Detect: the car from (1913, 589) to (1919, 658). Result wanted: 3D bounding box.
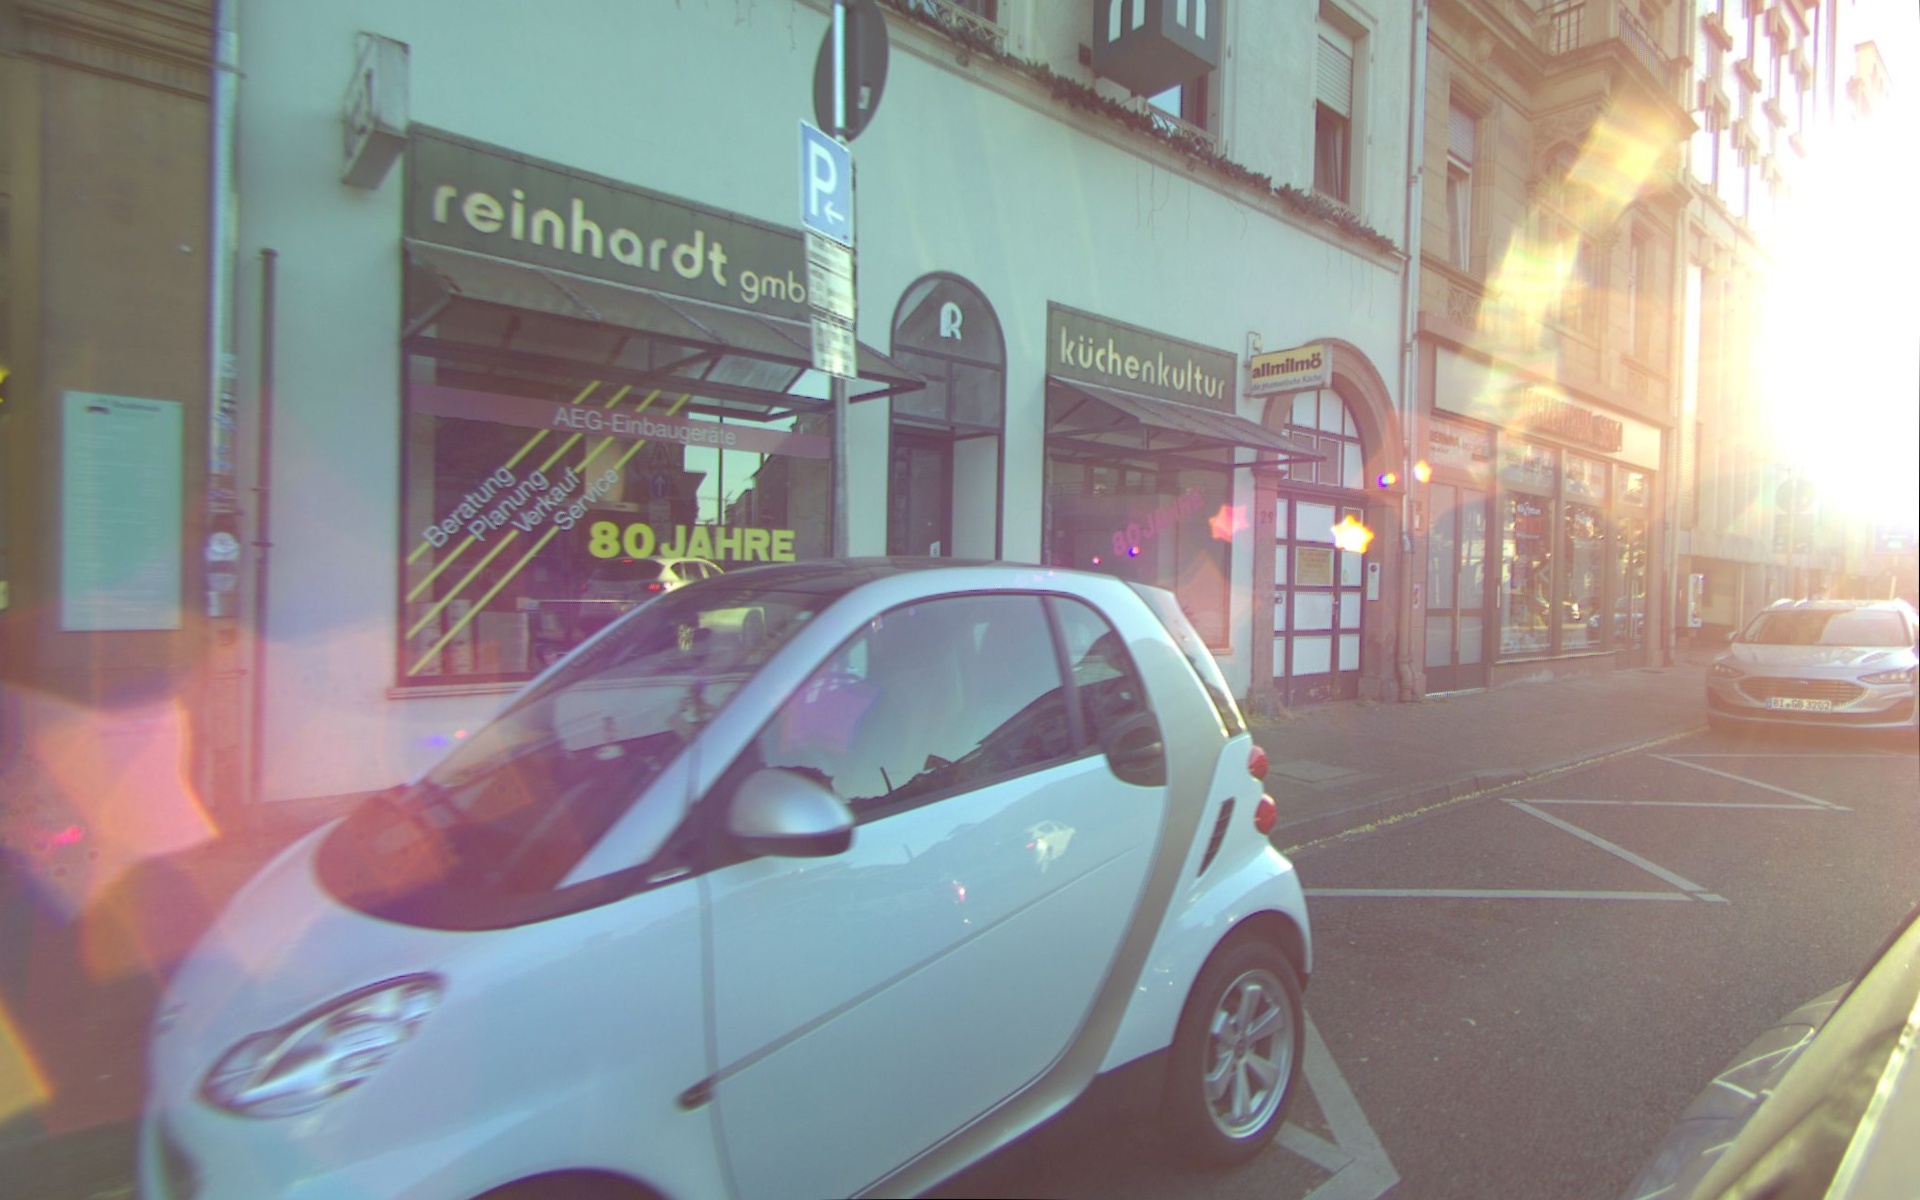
[{"bbox_3d":[23.674,0.599,23.433,3.928,1.555,1.764,0,4,-39],"label":"car"}]

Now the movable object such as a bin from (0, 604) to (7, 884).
[{"bbox_3d":[-3.909,0.581,3.673,0.607,1.083,0.776,0,3,-40],"label":"movable object such as a bin"}]

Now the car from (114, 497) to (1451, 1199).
[{"bbox_3d":[-0.182,0.635,2.772,3.224,1.556,1.535,-1,1,-39],"label":"car"}]

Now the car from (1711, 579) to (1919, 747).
[{"bbox_3d":[10.171,0.562,11.483,4.739,1.556,1.761,-1,0,-42],"label":"car"}]
